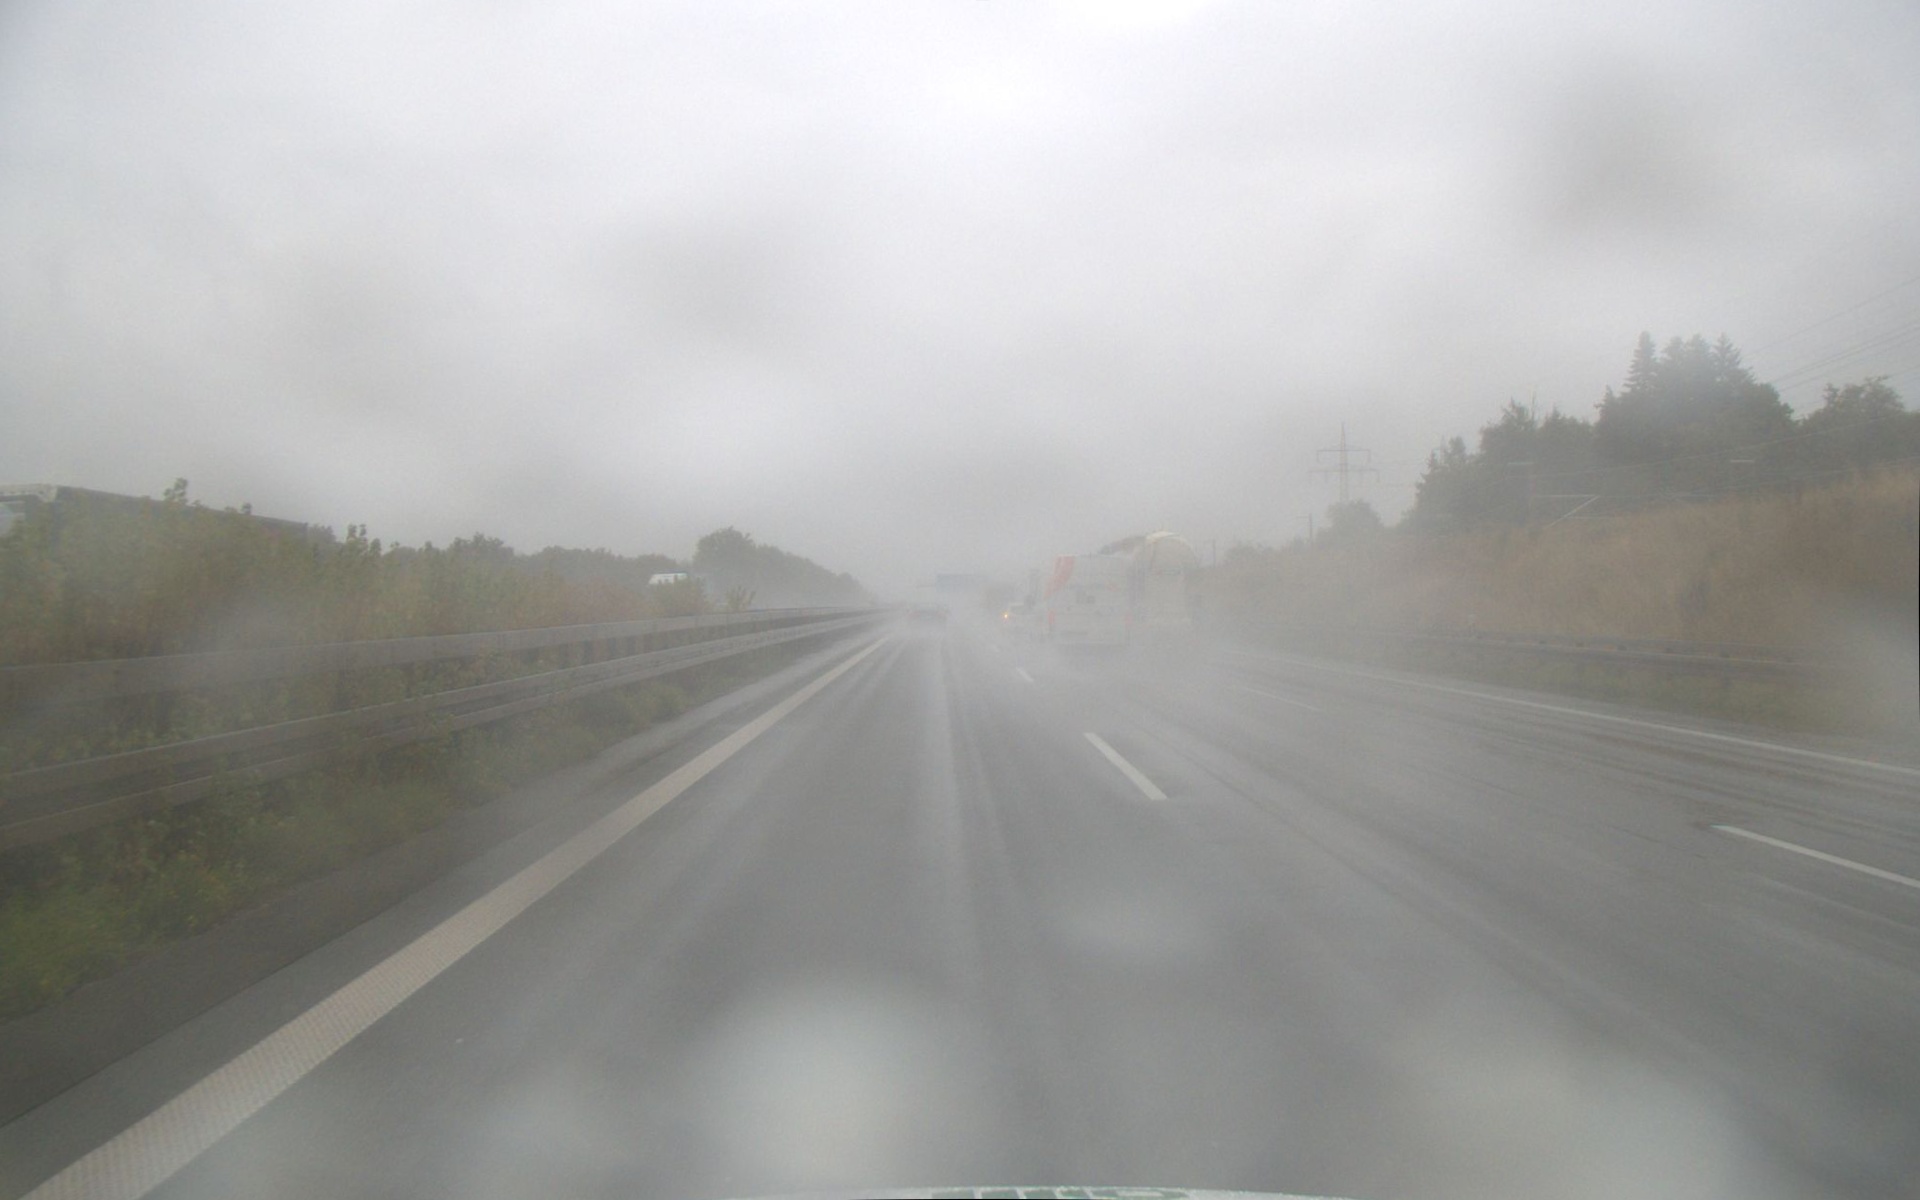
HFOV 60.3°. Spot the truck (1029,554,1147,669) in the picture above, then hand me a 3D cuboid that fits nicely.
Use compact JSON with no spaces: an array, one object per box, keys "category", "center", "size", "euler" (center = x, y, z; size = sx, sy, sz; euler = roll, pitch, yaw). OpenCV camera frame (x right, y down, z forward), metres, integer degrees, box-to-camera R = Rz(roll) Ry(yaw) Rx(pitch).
[{"category":"truck","center":[3.006,0.273,40.126],"size":[2.370,2.536,5.559],"euler":[1,0,-1]}]

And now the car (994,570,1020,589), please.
[{"category":"car","center":[5.481,-2.416,193.631],"size":[2.732,2.049,4.991],"euler":[1,0,-1]}]

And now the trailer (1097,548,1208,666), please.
[{"category":"trailer","center":[6.964,0.264,61.391],"size":[2.447,3.950,11.062],"euler":[1,0,-2]}]

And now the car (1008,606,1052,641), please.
[{"category":"car","center":[2.857,0.956,68.130],"size":[1.573,1.361,3.847],"euler":[1,0,-1]}]

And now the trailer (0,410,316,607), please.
[{"category":"trailer","center":[-19.094,-1.783,39.391],"size":[2.249,3.871,13.609],"euler":[1,0,-1]}]

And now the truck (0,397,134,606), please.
[{"category":"truck","center":[-19.000,-1.836,33.010],"size":[2.270,3.872,5.399],"euler":[1,0,-1]}]

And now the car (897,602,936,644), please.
[{"category":"car","center":[-1.982,1.037,76.091],"size":[1.667,1.850,3.861],"euler":[1,0,-1]}]

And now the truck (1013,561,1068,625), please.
[{"category":"truck","center":[6.333,-0.390,133.087],"size":[2.978,4.669,16.342],"euler":[1,-1,-2]}]
